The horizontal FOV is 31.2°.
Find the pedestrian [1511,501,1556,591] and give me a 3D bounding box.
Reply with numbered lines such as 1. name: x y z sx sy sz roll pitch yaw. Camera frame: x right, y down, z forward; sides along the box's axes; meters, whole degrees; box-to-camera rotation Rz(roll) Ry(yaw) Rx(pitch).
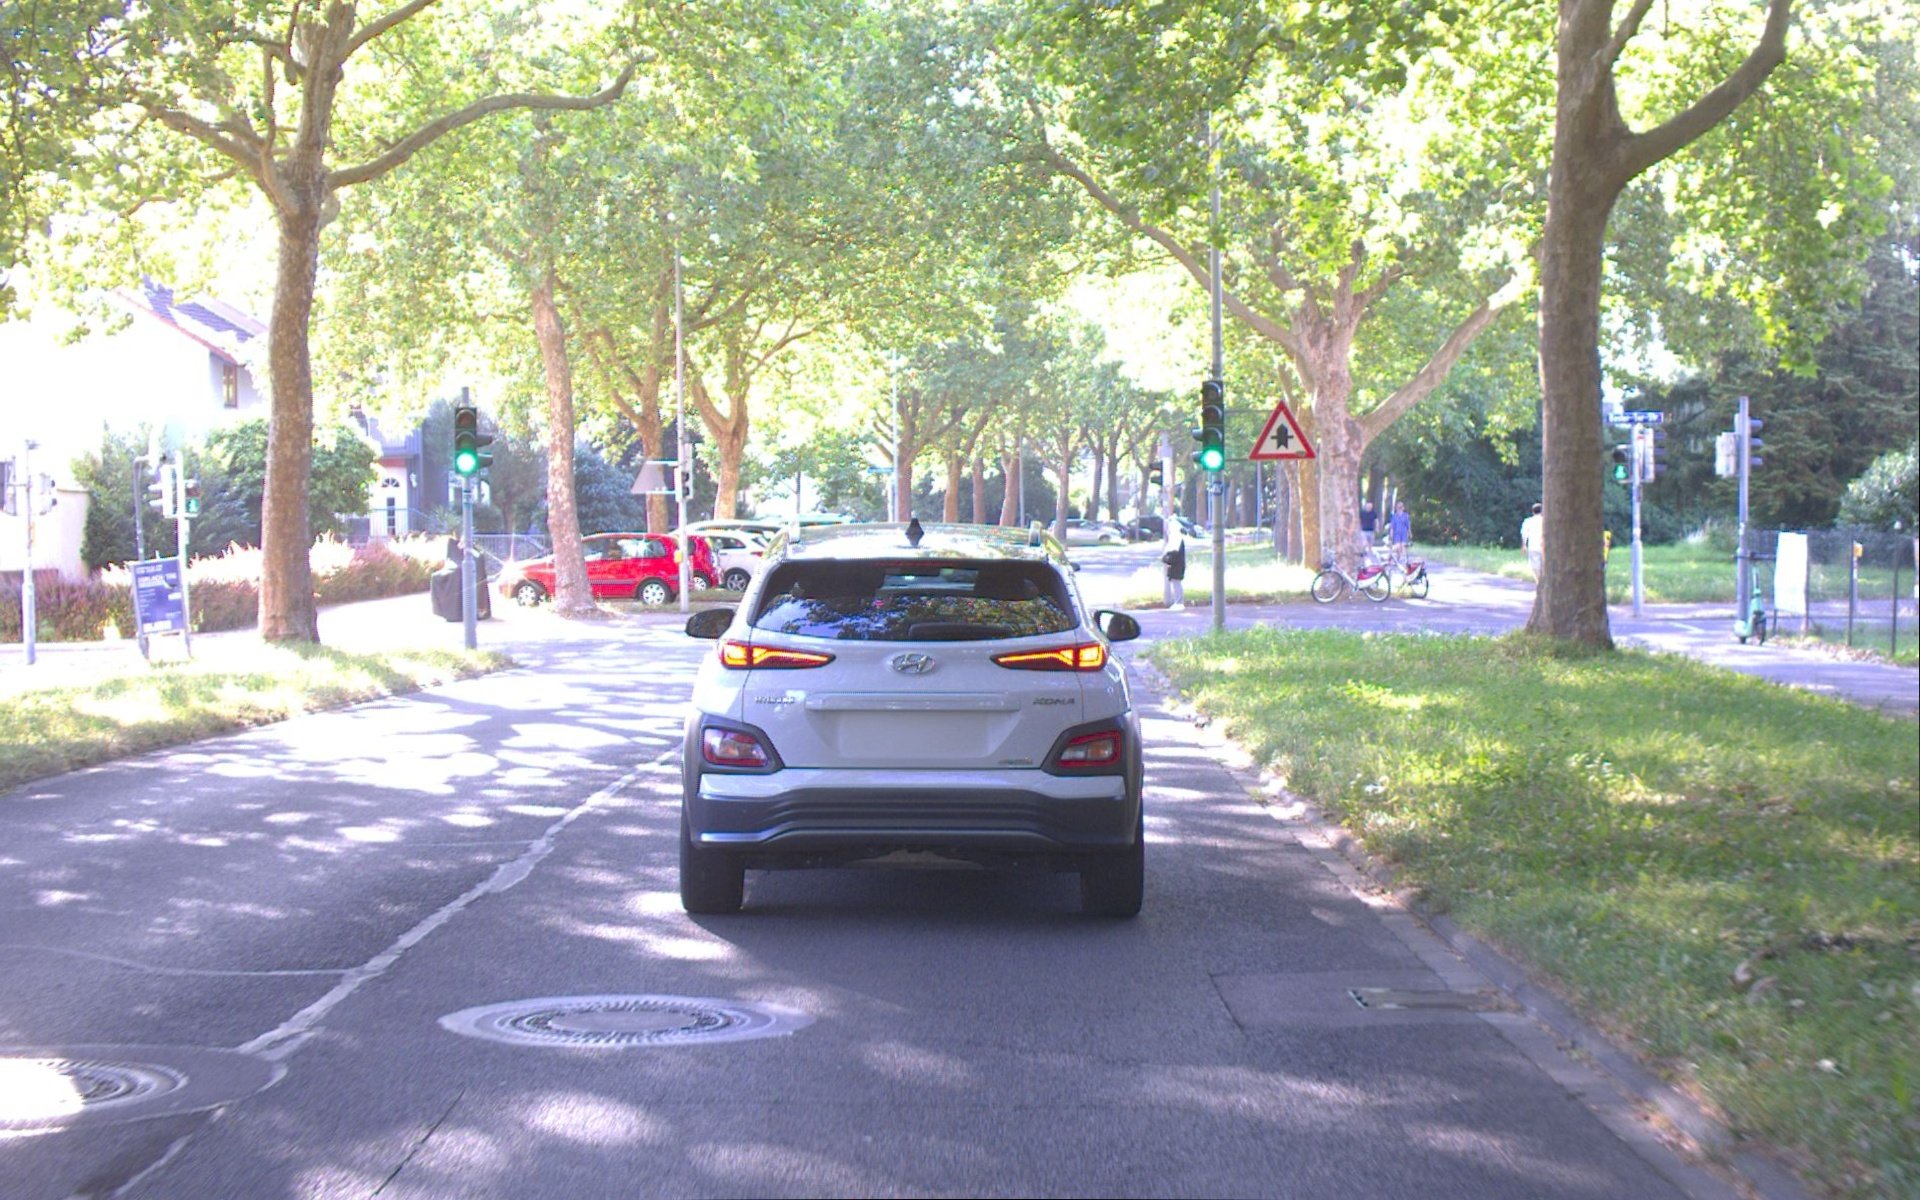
1. pedestrian: 11.120 -1.040 66.656 0.834 1.730 0.885 0 1 9

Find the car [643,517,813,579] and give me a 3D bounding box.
1. car: -5.661 -1.273 84.340 3.987 1.473 2.000 0 1 2

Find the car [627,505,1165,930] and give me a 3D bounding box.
1. car: -0.230 0.403 14.782 1.993 1.569 4.000 0 1 0

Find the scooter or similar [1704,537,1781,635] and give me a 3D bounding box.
1. scooter or similar: 10.253 -0.196 45.097 0.549 1.254 2.313 0 1 2

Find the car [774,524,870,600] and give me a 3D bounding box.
1. car: -2.745 -0.778 69.087 1.688 1.432 3.682 0 2 1

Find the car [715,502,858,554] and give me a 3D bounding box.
1. car: -5.001 -2.070 99.486 3.987 1.473 2.000 0 1 2

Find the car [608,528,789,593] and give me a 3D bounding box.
1. car: -6.052 -0.910 79.818 3.987 1.473 2.000 0 1 3

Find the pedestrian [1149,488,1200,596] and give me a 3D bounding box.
1. pedestrian: 4.051 -1.095 64.864 0.868 2.007 0.813 0 1 9

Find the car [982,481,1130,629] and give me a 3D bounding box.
1. car: 1.320 -0.661 48.883 1.993 2.007 4.000 0 1 0

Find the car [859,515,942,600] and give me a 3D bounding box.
1. car: -1.340 -0.970 78.565 1.791 1.875 4.000 0 1 0

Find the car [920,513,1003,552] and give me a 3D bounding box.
1. car: 0.068 -3.185 161.399 3.668 1.802 1.749 0 1 -8

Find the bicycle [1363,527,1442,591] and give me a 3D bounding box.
1. bicycle: 8.243 -0.773 64.168 0.603 1.179 2.119 0 1 -18

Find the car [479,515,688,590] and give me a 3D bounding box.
1. car: -7.639 -0.969 70.045 3.987 1.473 2.000 0 1 2

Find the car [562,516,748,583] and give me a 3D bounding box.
1. car: -6.859 -1.134 77.599 3.987 1.473 2.000 0 1 2

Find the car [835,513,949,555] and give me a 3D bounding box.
1. car: -2.416 -2.373 123.386 3.987 1.473 2.000 0 1 2

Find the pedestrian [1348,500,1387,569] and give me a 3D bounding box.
1. pedestrian: 11.901 -1.908 100.416 1.095 2.007 1.105 0 1 7

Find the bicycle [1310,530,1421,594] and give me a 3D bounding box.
1. bicycle: 7.441 -0.708 63.117 0.603 1.160 2.149 0 1 -42

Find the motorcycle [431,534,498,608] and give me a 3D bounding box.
1. motorcycle: -9.426 -0.554 65.497 0.846 1.374 2.776 0 1 0
